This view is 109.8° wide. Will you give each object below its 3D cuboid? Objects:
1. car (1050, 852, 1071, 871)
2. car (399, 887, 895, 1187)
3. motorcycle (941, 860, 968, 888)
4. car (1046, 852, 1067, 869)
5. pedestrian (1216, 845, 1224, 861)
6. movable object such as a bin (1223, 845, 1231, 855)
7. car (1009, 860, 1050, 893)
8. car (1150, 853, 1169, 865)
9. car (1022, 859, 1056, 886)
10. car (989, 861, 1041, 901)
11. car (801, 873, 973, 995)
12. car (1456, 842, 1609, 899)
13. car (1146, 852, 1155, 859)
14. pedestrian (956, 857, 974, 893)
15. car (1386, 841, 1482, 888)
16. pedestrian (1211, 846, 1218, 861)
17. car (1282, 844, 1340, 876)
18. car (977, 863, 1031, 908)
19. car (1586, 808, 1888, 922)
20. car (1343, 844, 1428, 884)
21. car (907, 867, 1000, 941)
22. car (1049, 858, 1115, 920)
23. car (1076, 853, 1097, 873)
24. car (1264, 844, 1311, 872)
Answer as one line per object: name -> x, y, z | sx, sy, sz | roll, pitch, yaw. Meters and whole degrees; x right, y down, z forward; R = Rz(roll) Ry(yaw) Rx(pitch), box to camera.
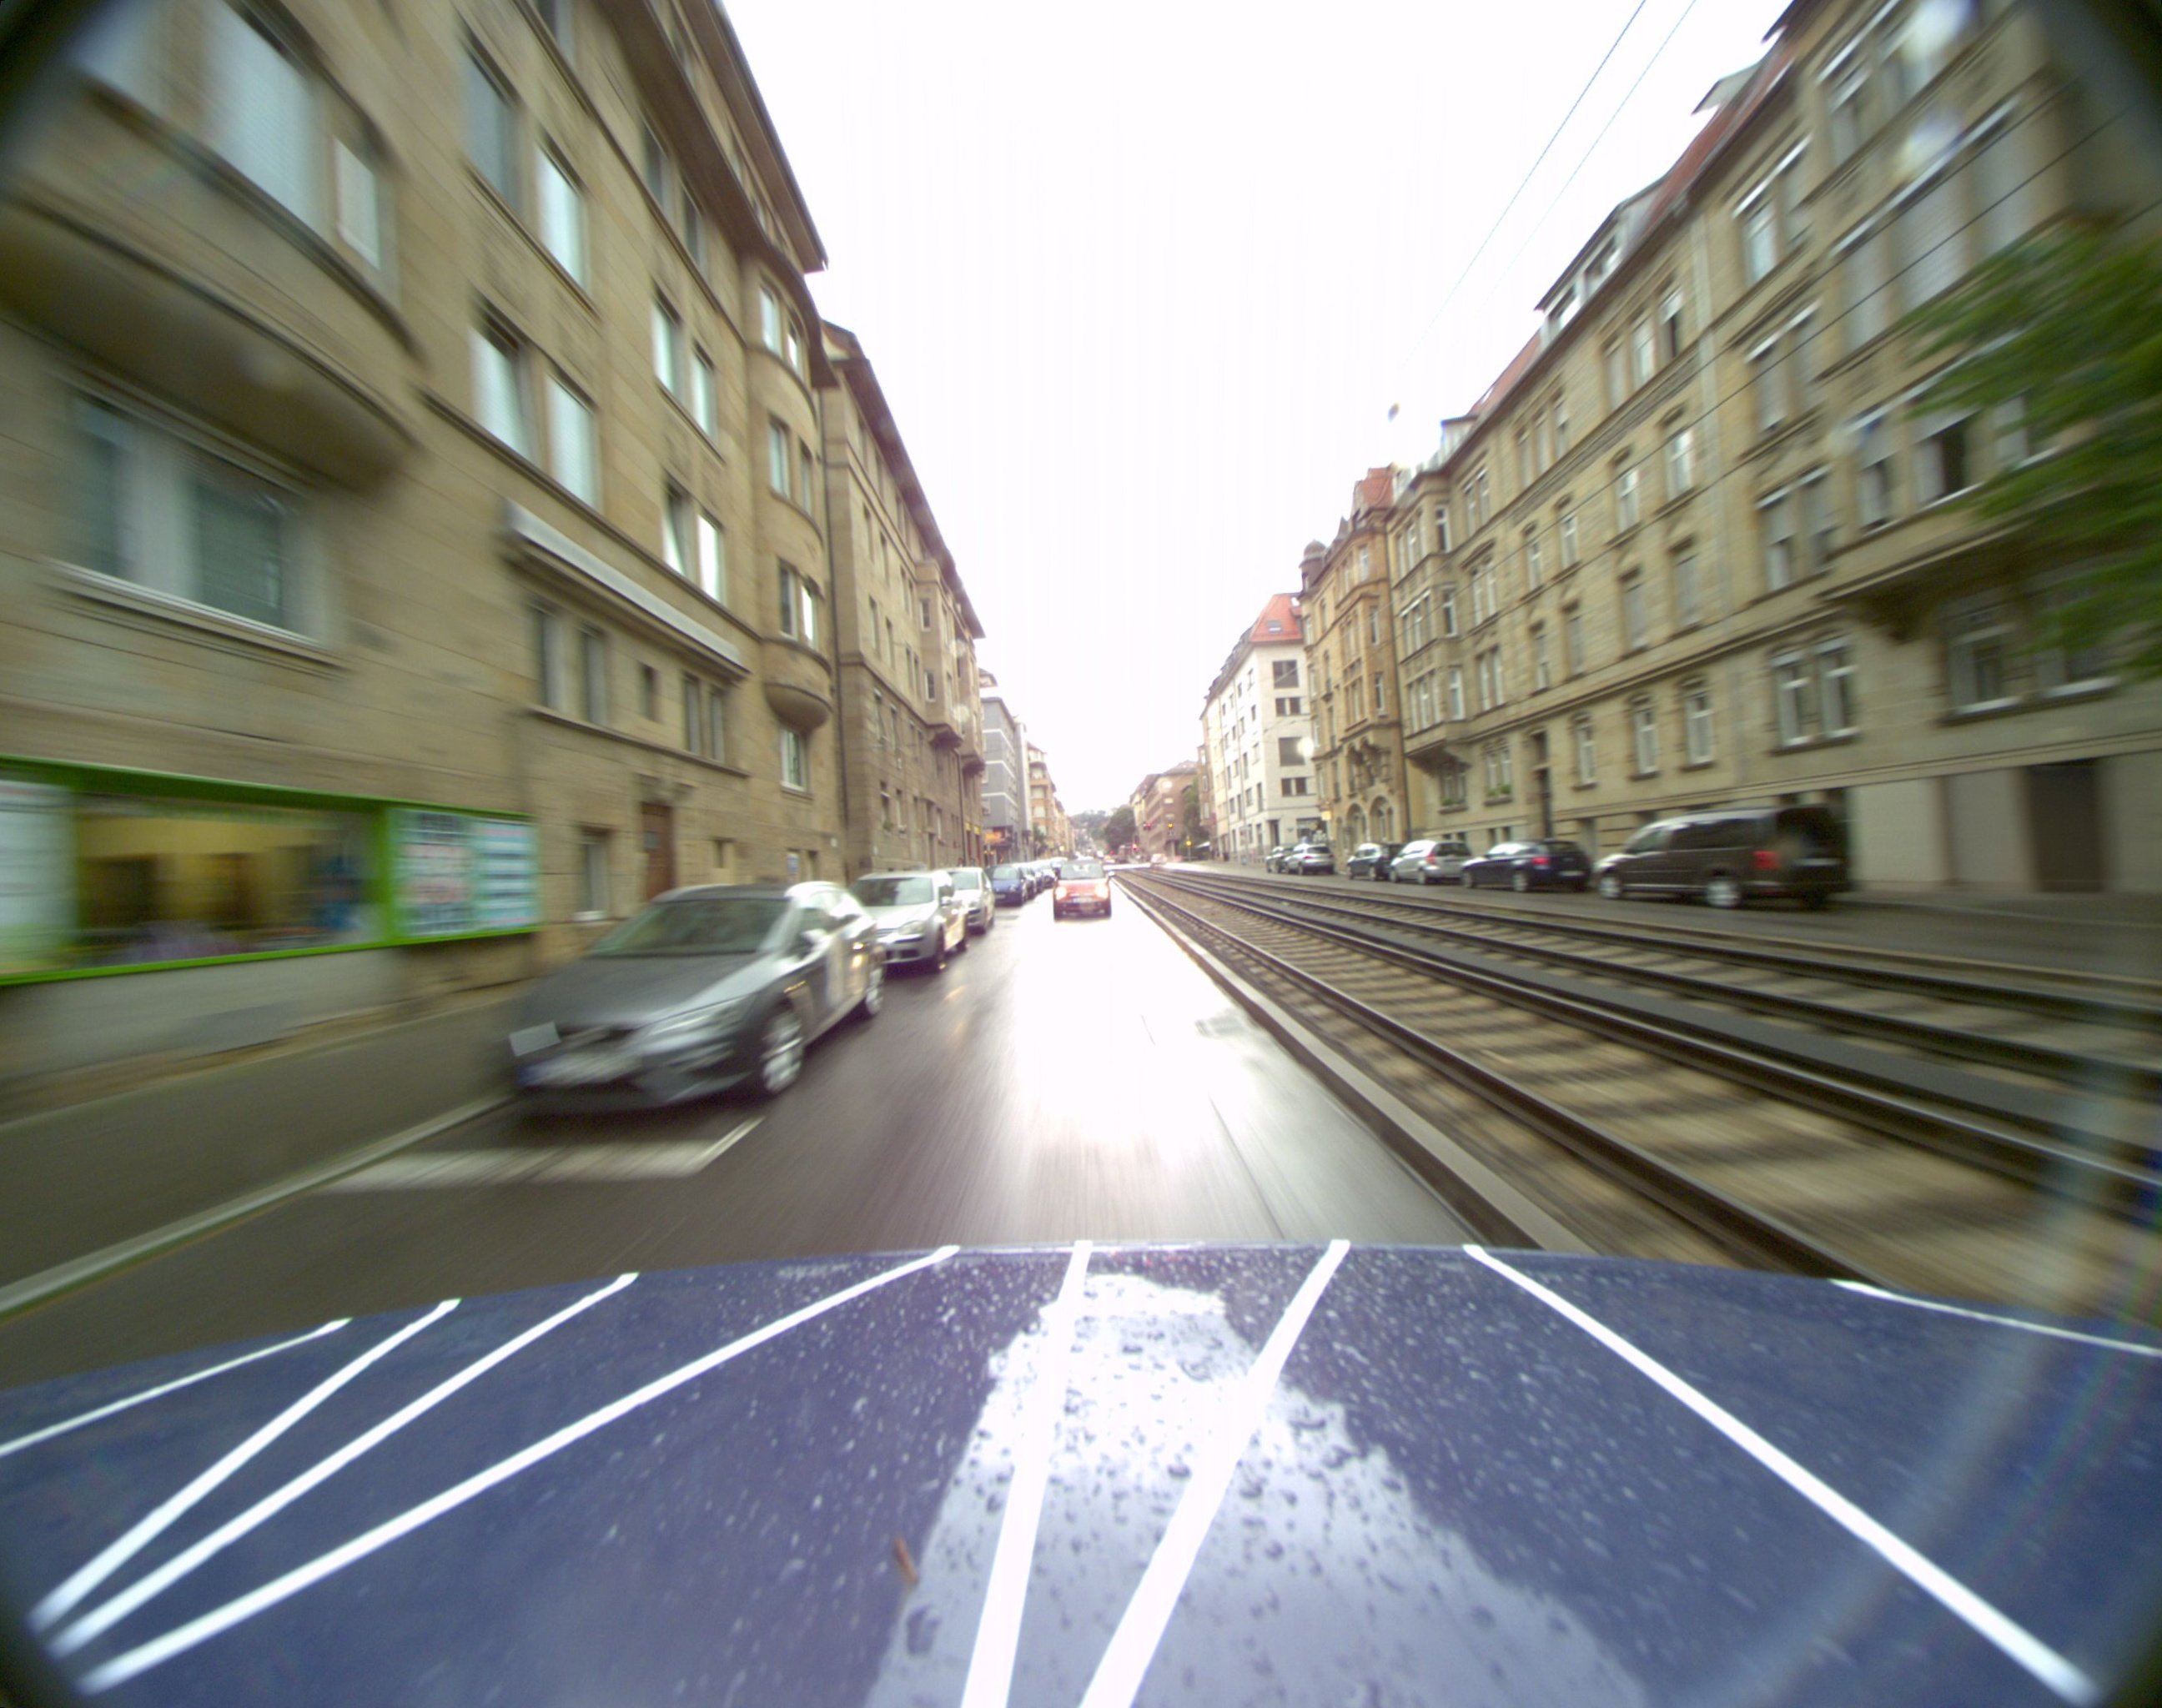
car -> -1.975, 0.721, 74.584 | 1.797, 1.750, 4.566 | -3, 0, 0
car -> -2.926, 1.105, 6.365 | 1.674, 1.402, 4.311 | -2, 0, -1
motorcycle -> -5.855, 0.918, 35.272 | 0.707, 1.192, 2.746 | -3, 0, 1
car -> -2.263, 0.614, 69.418 | 1.696, 1.474, 3.928 | -1, 0, -4
pedestrian -> 15.984, -0.115, 87.493 | 0.603, 1.708, 0.658 | -6, 1, 3
movable object such as a bin -> 16.618, -0.423, 86.572 | 0.631, 1.074, 0.563 | -8, 1, 0
car -> -2.433, 1.069, 36.918 | 1.711, 1.390, 4.018 | -3, 0, -1
car -> 10.087, 0.569, 98.084 | 1.986, 1.448, 4.294 | -2, 0, 0
car -> -2.309, 0.991, 42.149 | 1.759, 1.379, 4.484 | -1, 0, -3
car -> -2.689, 1.069, 31.865 | 1.792, 1.454, 4.083 | -3, 0, -1
car -> -2.834, 1.103, 11.979 | 1.672, 1.426, 3.955 | -2, 0, 0
car -> 12.568, 0.423, 21.502 | 1.767, 1.390, 4.269 | -2, 0, 0
car -> 13.794, 0.309, 150.884 | 1.708, 1.379, 3.781 | -2, 0, 2
pedestrian -> -4.975, 0.891, 32.631 | 0.562, 1.526, 0.710 | -3, 1, 1
car -> 12.594, 0.346, 27.369 | 1.699, 1.515, 3.855 | -2, 0, 1
pedestrian -> 15.356, -0.042, 87.536 | 0.603, 1.708, 0.746 | -6, 1, 3
car -> 12.829, 0.317, 42.595 | 1.863, 1.643, 4.315 | -3, 0, 0
car -> -2.716, 1.079, 27.296 | 1.548, 1.406, 3.446 | -3, 0, -1
car -> 12.429, 0.176, 14.946 | 1.805, 1.836, 4.818 | -2, 0, 1
car -> 12.708, 0.379, 32.000 | 1.875, 1.499, 4.169 | -2, 0, 1
car -> -2.866, 1.082, 17.794 | 1.594, 1.426, 3.683 | -2, 0, -1
car -> 0.045, 0.929, 21.909 | 1.683, 1.531, 4.018 | -2, 0, 0
car -> 0.630, 0.966, 84.400 | 2.135, 2.002, 4.328 | -3, 0, 1
car -> 12.858, 0.225, 47.640 | 1.863, 1.592, 4.430 | -2, 0, 3
